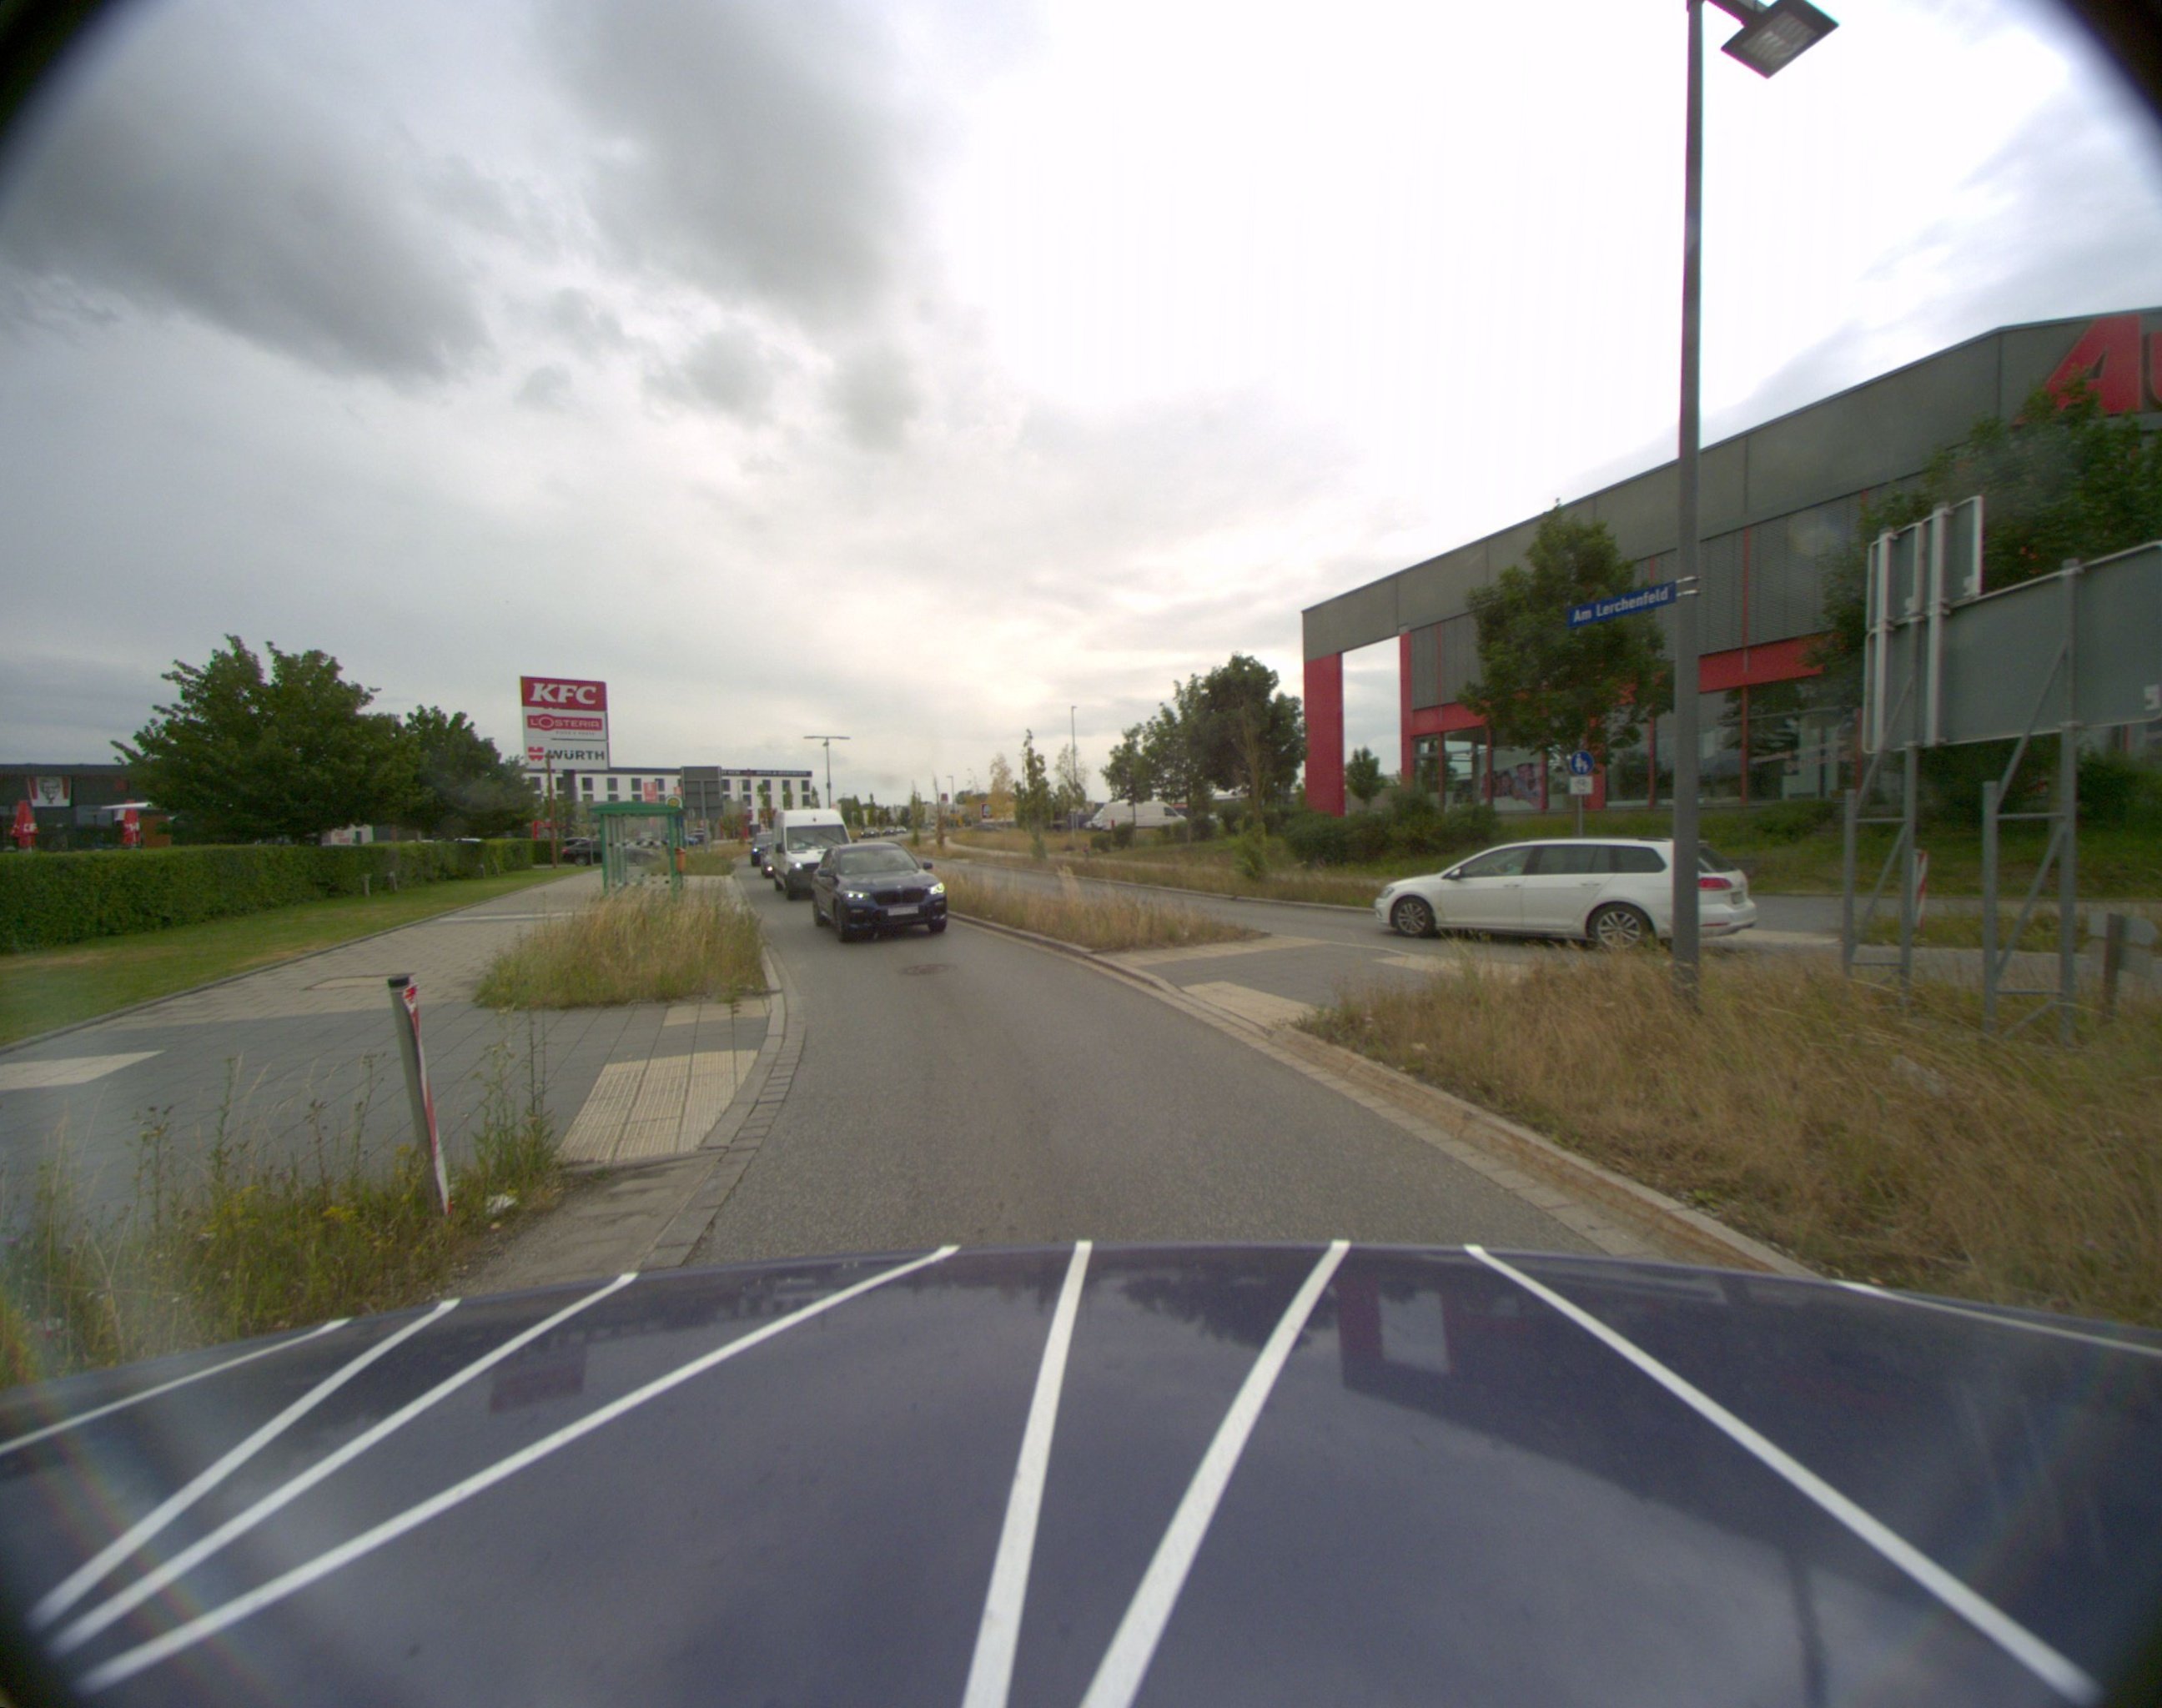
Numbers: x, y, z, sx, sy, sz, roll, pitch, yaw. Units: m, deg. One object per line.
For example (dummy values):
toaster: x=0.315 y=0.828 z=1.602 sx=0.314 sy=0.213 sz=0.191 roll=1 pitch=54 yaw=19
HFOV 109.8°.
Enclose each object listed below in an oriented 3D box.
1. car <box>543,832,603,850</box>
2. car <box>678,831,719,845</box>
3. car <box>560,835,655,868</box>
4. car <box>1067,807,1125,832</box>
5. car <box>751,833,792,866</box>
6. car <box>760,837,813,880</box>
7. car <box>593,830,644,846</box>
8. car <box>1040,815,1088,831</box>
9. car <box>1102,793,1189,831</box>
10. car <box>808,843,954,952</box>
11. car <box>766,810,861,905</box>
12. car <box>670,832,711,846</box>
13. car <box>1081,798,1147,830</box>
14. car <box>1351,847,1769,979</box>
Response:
car: x=-45.706 y=-1.192 z=68.449 sx=4.002 sy=1.514 sz=1.844 roll=-2 pitch=3 yaw=-17
car: x=-47.772 y=-2.006 z=94.949 sx=3.999 sy=1.478 sz=1.844 roll=-3 pitch=4 yaw=-8
car: x=-25.821 y=-0.191 z=41.578 sx=4.003 sy=1.478 sz=1.843 roll=-4 pitch=5 yaw=-21
car: x=1.404 y=-3.260 z=71.174 sx=5.061 sy=2.212 sz=2.060 roll=-2 pitch=3 yaw=-18
car: x=-17.030 y=-0.298 z=41.695 sx=1.870 sy=1.599 sz=3.990 roll=-3 pitch=3 yaw=-24
car: x=-12.562 y=0.112 z=32.307 sx=1.870 sy=1.599 sz=3.990 roll=-3 pitch=3 yaw=-24
car: x=-47.336 y=-1.653 z=77.773 sx=4.001 sy=1.478 sz=1.844 roll=-2 pitch=3 yaw=-12
car: x=-1.983 y=-3.542 z=86.378 sx=5.060 sy=1.647 sz=2.061 roll=-2 pitch=3 yaw=-15
car: x=4.996 y=-3.258 z=58.833 sx=6.425 sy=2.610 sz=2.060 roll=-4 pitch=5 yaw=-21
car: x=-3.890 y=0.670 z=14.295 sx=1.871 sy=1.599 sz=3.990 roll=-3 pitch=3 yaw=-26
car: x=-8.396 y=-0.018 z=23.449 sx=2.030 sy=2.514 sz=6.090 roll=-3 pitch=3 yaw=-26
car: x=-47.712 y=-1.845 z=92.851 sx=3.999 sy=1.478 sz=1.844 roll=-3 pitch=4 yaw=-8
car: x=2.782 y=-3.382 z=63.538 sx=5.062 sy=2.361 sz=2.059 roll=-4 pitch=5 yaw=-25
car: x=6.354 y=0.638 z=10.597 sx=1.731 sy=1.401 sz=4.630 roll=-2 pitch=2 yaw=-41
